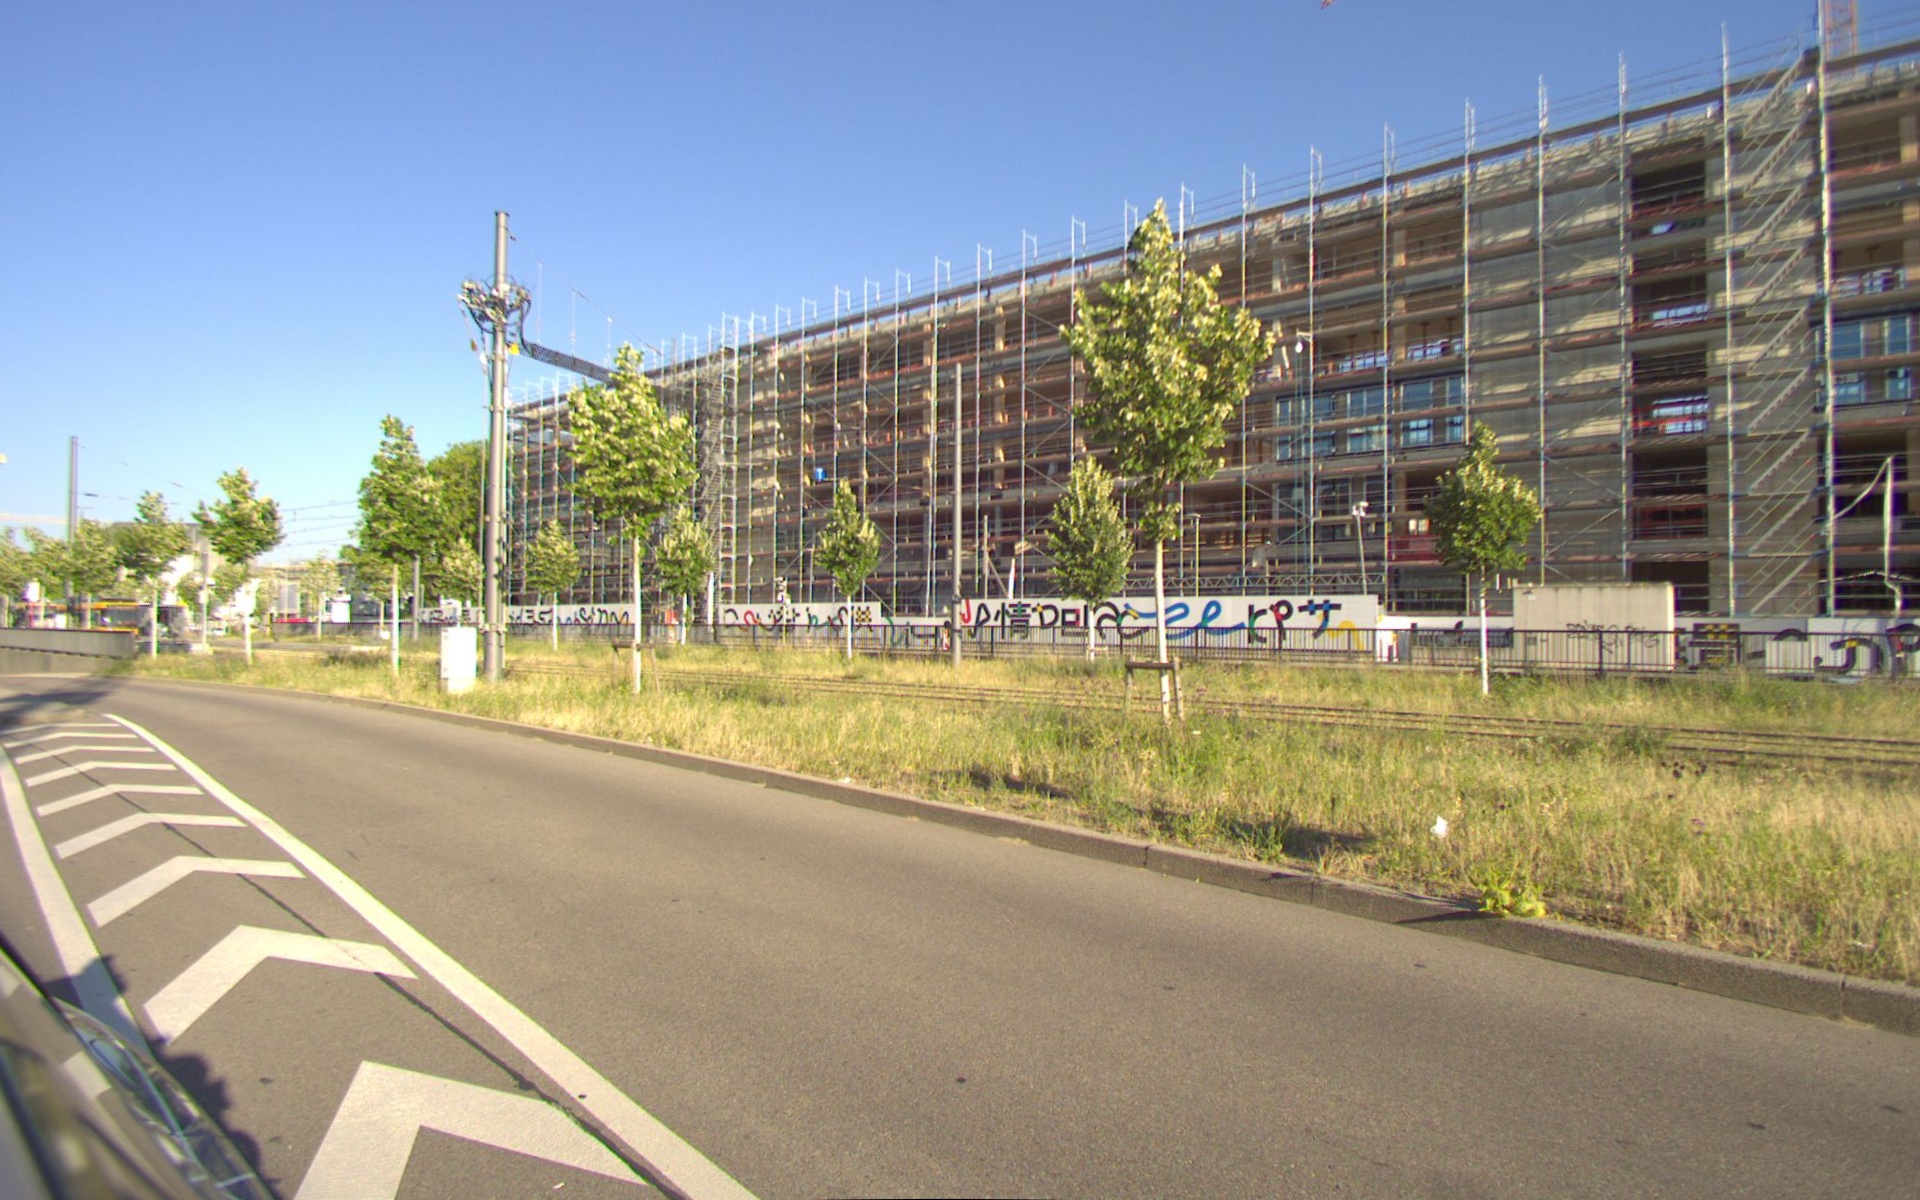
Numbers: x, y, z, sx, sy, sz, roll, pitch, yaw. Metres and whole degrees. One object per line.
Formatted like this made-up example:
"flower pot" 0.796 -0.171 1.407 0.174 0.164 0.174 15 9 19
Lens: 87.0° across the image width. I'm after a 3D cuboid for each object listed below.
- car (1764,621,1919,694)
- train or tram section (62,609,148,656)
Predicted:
"car" 19.674 1.204 21.868 3.579 1.453 1.691 -1 -1 40
"train or tram section" -67.105 2.444 79.256 12.621 3.423 2.917 -1 -1 39
